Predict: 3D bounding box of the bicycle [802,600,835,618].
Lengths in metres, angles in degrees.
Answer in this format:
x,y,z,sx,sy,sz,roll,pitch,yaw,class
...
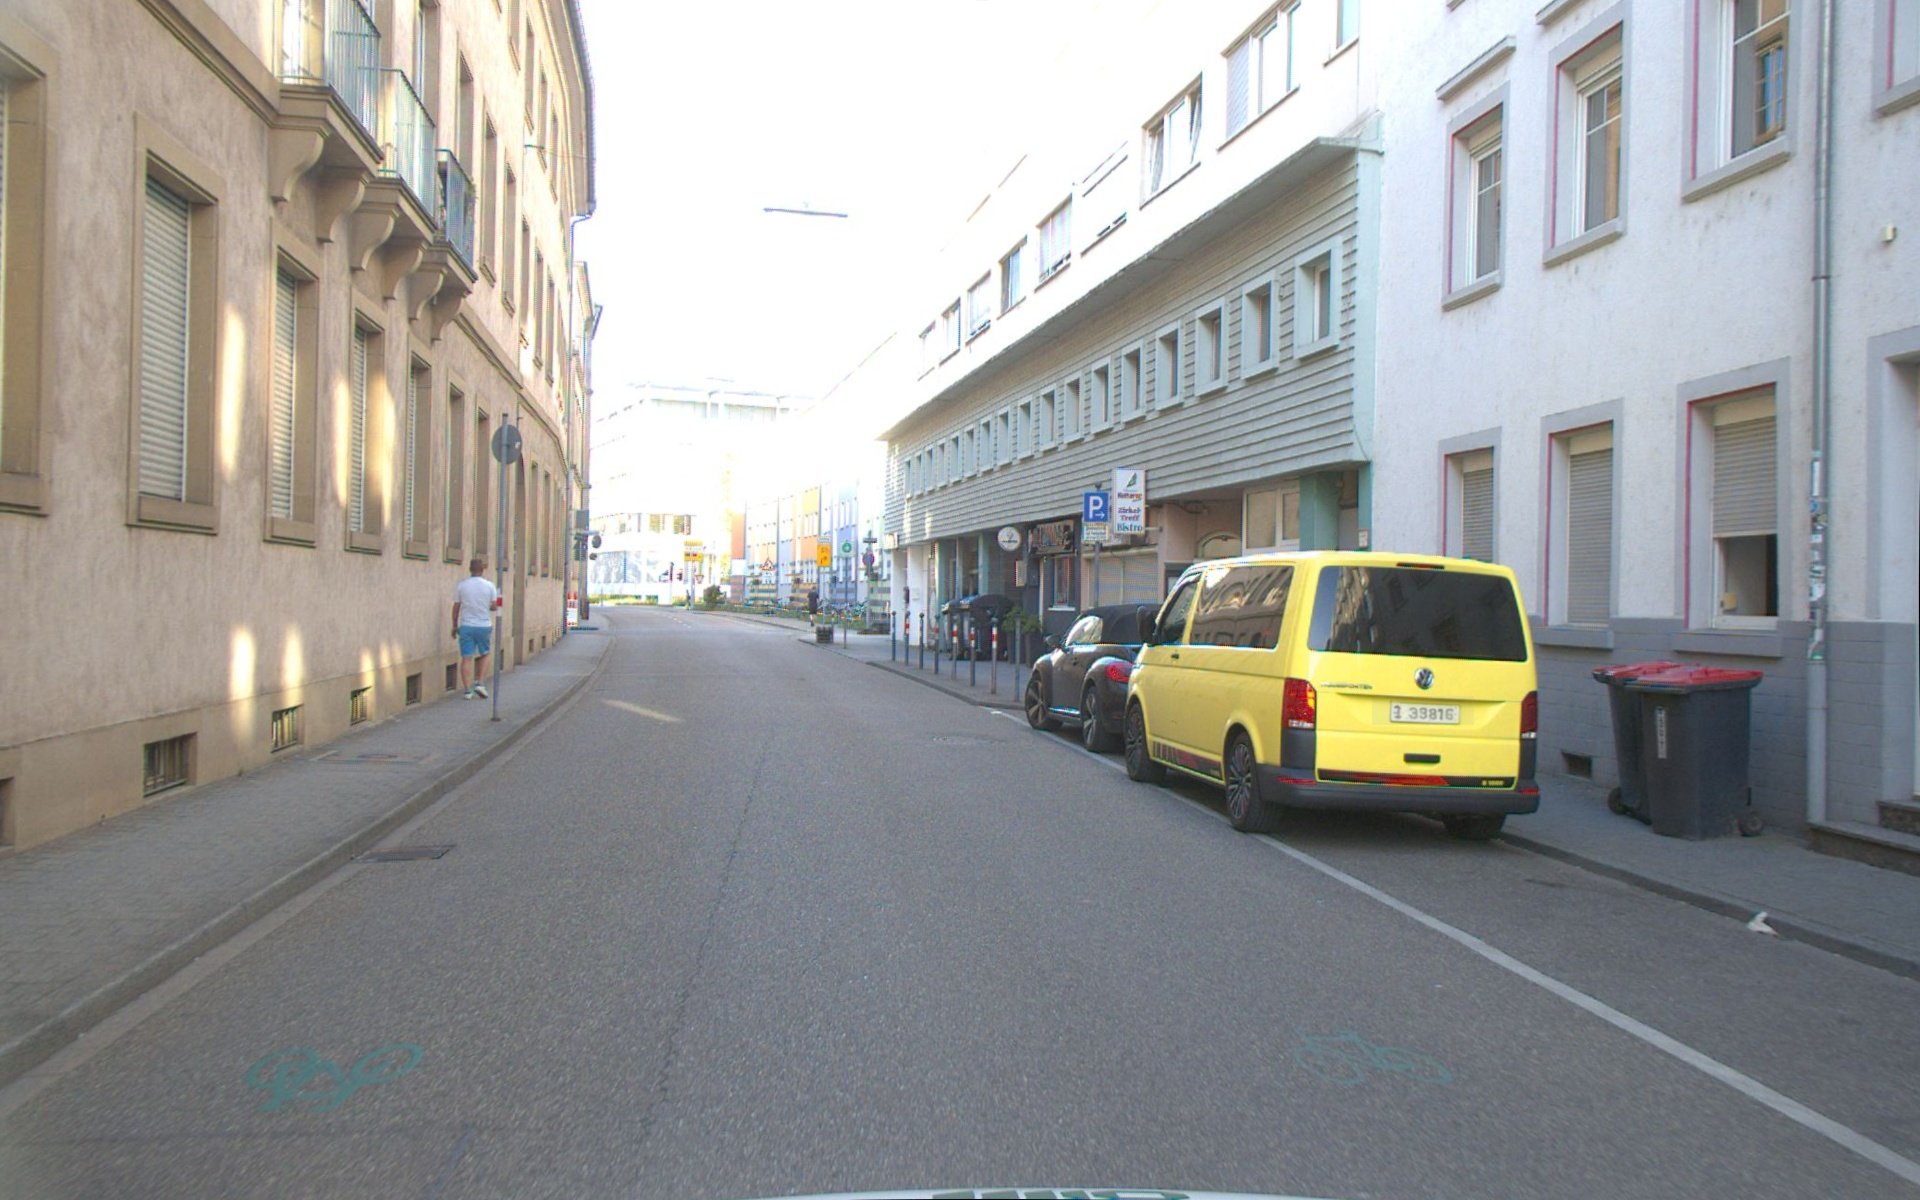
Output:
x,y,z,sx,sy,sz,roll,pitch,yaw,class
-7.557,0.468,88.213,1.718,0.963,0.334,0,0,-14,bicycle

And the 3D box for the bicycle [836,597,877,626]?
x,y,z,sx,sy,sz,roll,pitch,yaw,class
-4.526,0.505,72.303,1.718,1.161,0.550,-2,1,-14,bicycle

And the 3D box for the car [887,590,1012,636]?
x,y,z,sx,sy,sz,roll,pitch,yaw,class
-0.369,0.461,56.996,4.008,1.508,1.859,1,0,-13,car

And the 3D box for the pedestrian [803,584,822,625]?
x,y,z,sx,sy,sz,roll,pitch,yaw,class
-6.609,0.197,74.073,0.685,1.790,1.185,-1,0,-13,pedestrian

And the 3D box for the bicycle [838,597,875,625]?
x,y,z,sx,sy,sz,roll,pitch,yaw,class
-4.603,0.489,73.731,1.617,1.161,0.281,-2,1,-22,bicycle

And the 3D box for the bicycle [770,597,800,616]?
x,y,z,sx,sy,sz,roll,pitch,yaw,class
-10.825,0.376,102.289,1.780,1.157,0.550,1,-1,-15,bicycle

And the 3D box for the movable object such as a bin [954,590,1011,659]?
x,y,z,sx,sy,sz,roll,pitch,yaw,class
0.490,0.556,36.847,0.963,1.506,1.547,0,-2,-11,movable object such as a bin

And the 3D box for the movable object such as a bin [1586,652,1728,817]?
x,y,z,sx,sy,sz,roll,pitch,yaw,class
4.934,0.937,11.745,0.595,1.069,0.707,-4,1,-9,movable object such as a bin

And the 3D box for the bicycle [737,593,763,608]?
x,y,z,sx,sy,sz,roll,pitch,yaw,class
-14.702,0.031,115.825,1.726,1.021,0.610,0,0,-18,bicycle

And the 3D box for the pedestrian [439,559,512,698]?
x,y,z,sx,sy,sz,roll,pitch,yaw,class
-6.112,0.355,20.906,0.680,1.699,0.873,3,-1,-9,pedestrian

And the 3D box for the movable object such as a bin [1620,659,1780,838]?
x,y,z,sx,sy,sz,roll,pitch,yaw,class
4.880,0.956,10.932,0.615,1.069,0.706,-4,1,-13,movable object such as a bin

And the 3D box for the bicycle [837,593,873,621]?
x,y,z,sx,sy,sz,roll,pitch,yaw,class
-4.704,0.315,73.986,1.580,1.161,0.236,-2,1,-22,bicycle

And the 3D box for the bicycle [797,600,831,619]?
x,y,z,sx,sy,sz,roll,pitch,yaw,class
-7.596,0.503,85.848,1.718,0.963,0.550,0,0,-14,bicycle

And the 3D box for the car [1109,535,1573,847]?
x,y,z,sx,sy,sz,roll,pitch,yaw,class
2.622,0.565,12.748,1.848,1.915,4.837,2,0,-8,car

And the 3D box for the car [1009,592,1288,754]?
x,y,z,sx,sy,sz,roll,pitch,yaw,class
1.907,0.706,18.183,1.849,1.515,4.357,2,0,-10,car

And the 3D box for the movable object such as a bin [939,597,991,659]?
x,y,z,sx,sy,sz,roll,pitch,yaw,class
0.099,0.656,38.361,0.963,1.409,1.317,0,-2,-11,movable object such as a bin
